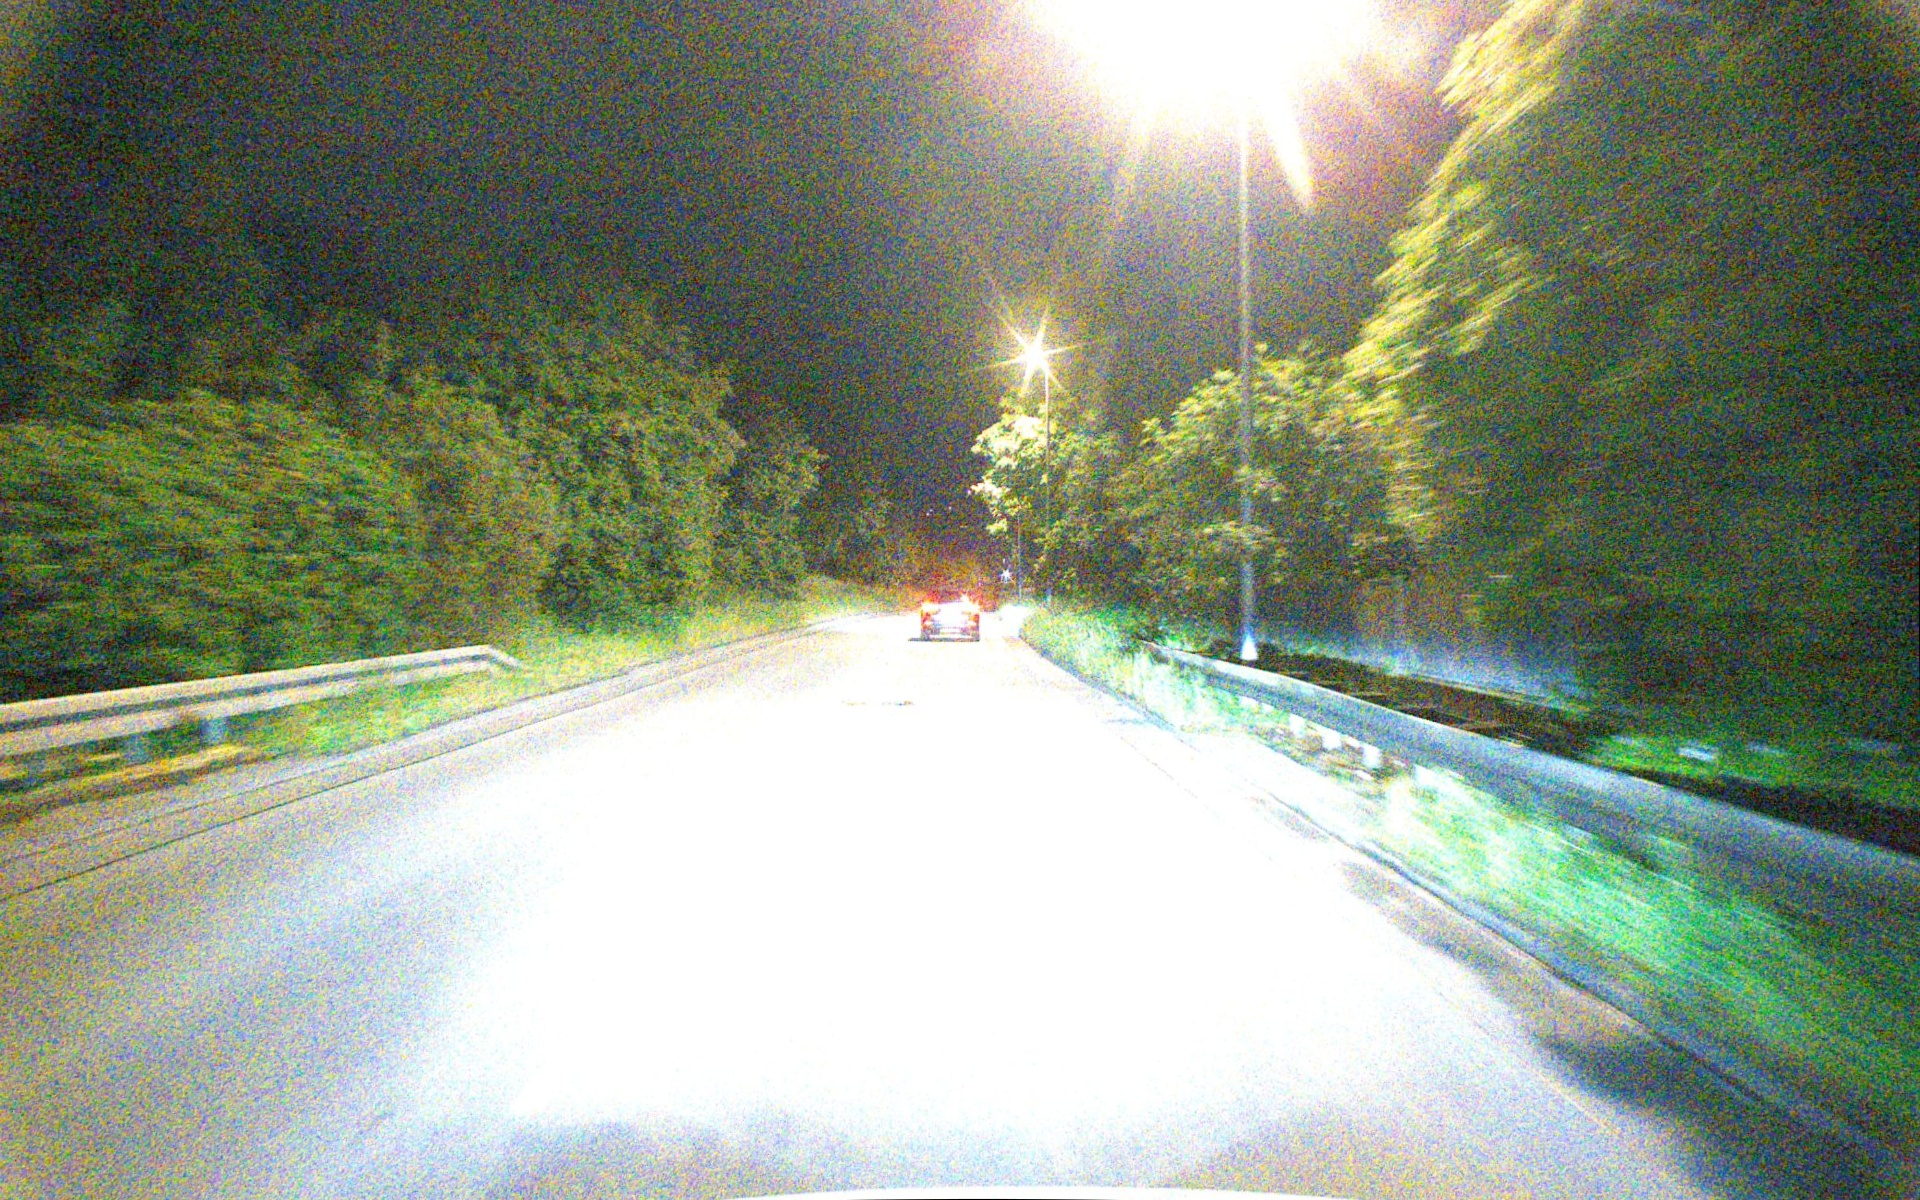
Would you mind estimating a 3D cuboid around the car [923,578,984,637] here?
[{"bbox_3d":[-0.197,0.192,49.856,1.727,1.670,3.723,1,1,0],"label":"car"}]
